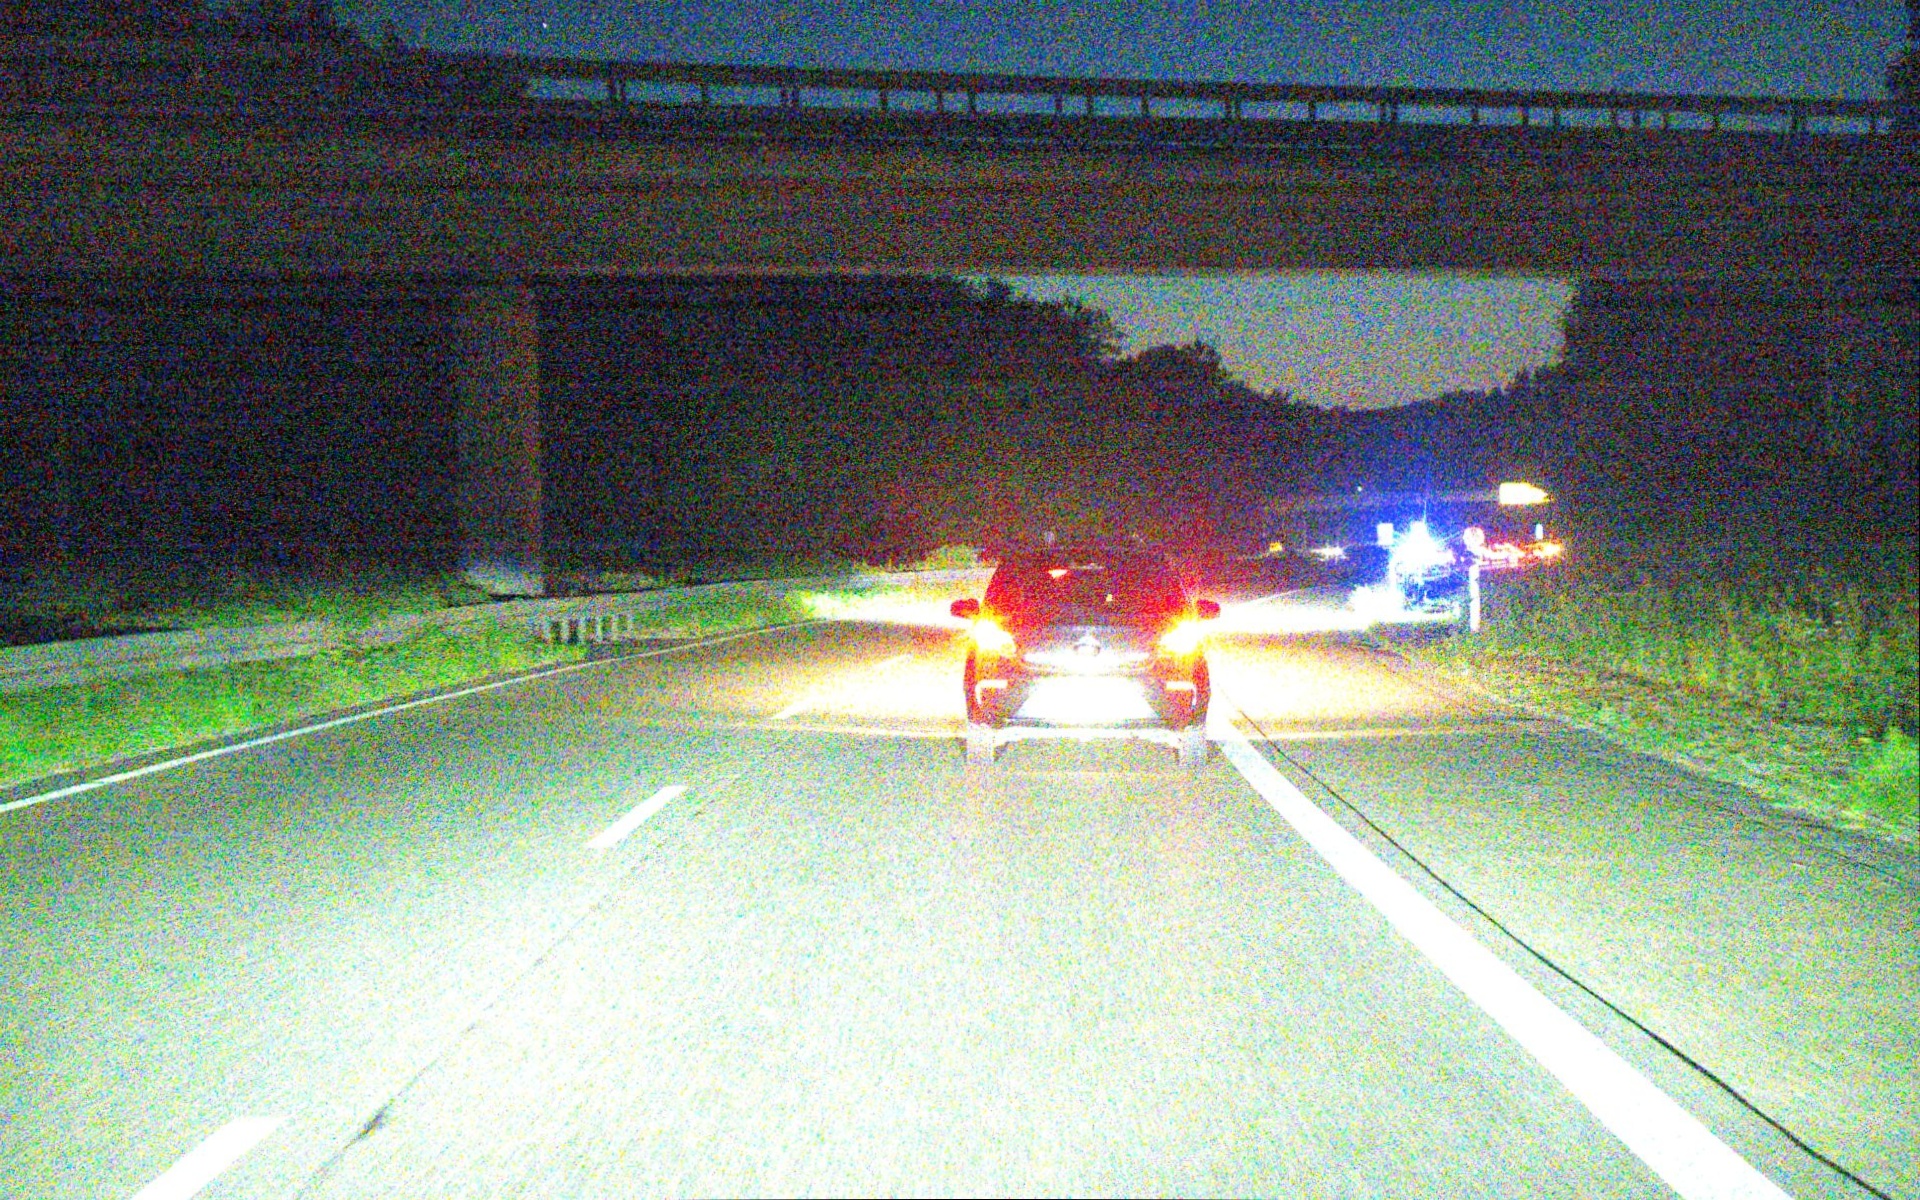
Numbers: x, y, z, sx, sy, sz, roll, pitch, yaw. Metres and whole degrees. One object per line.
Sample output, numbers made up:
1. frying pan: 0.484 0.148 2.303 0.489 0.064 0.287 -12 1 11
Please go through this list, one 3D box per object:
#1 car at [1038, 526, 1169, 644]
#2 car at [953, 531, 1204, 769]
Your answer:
1. car: 2.163 -0.265 52.161 1.906 1.692 4.000 0 1 2
2. car: 0.793 0.284 24.099 1.588 1.503 4.000 1 1 1
